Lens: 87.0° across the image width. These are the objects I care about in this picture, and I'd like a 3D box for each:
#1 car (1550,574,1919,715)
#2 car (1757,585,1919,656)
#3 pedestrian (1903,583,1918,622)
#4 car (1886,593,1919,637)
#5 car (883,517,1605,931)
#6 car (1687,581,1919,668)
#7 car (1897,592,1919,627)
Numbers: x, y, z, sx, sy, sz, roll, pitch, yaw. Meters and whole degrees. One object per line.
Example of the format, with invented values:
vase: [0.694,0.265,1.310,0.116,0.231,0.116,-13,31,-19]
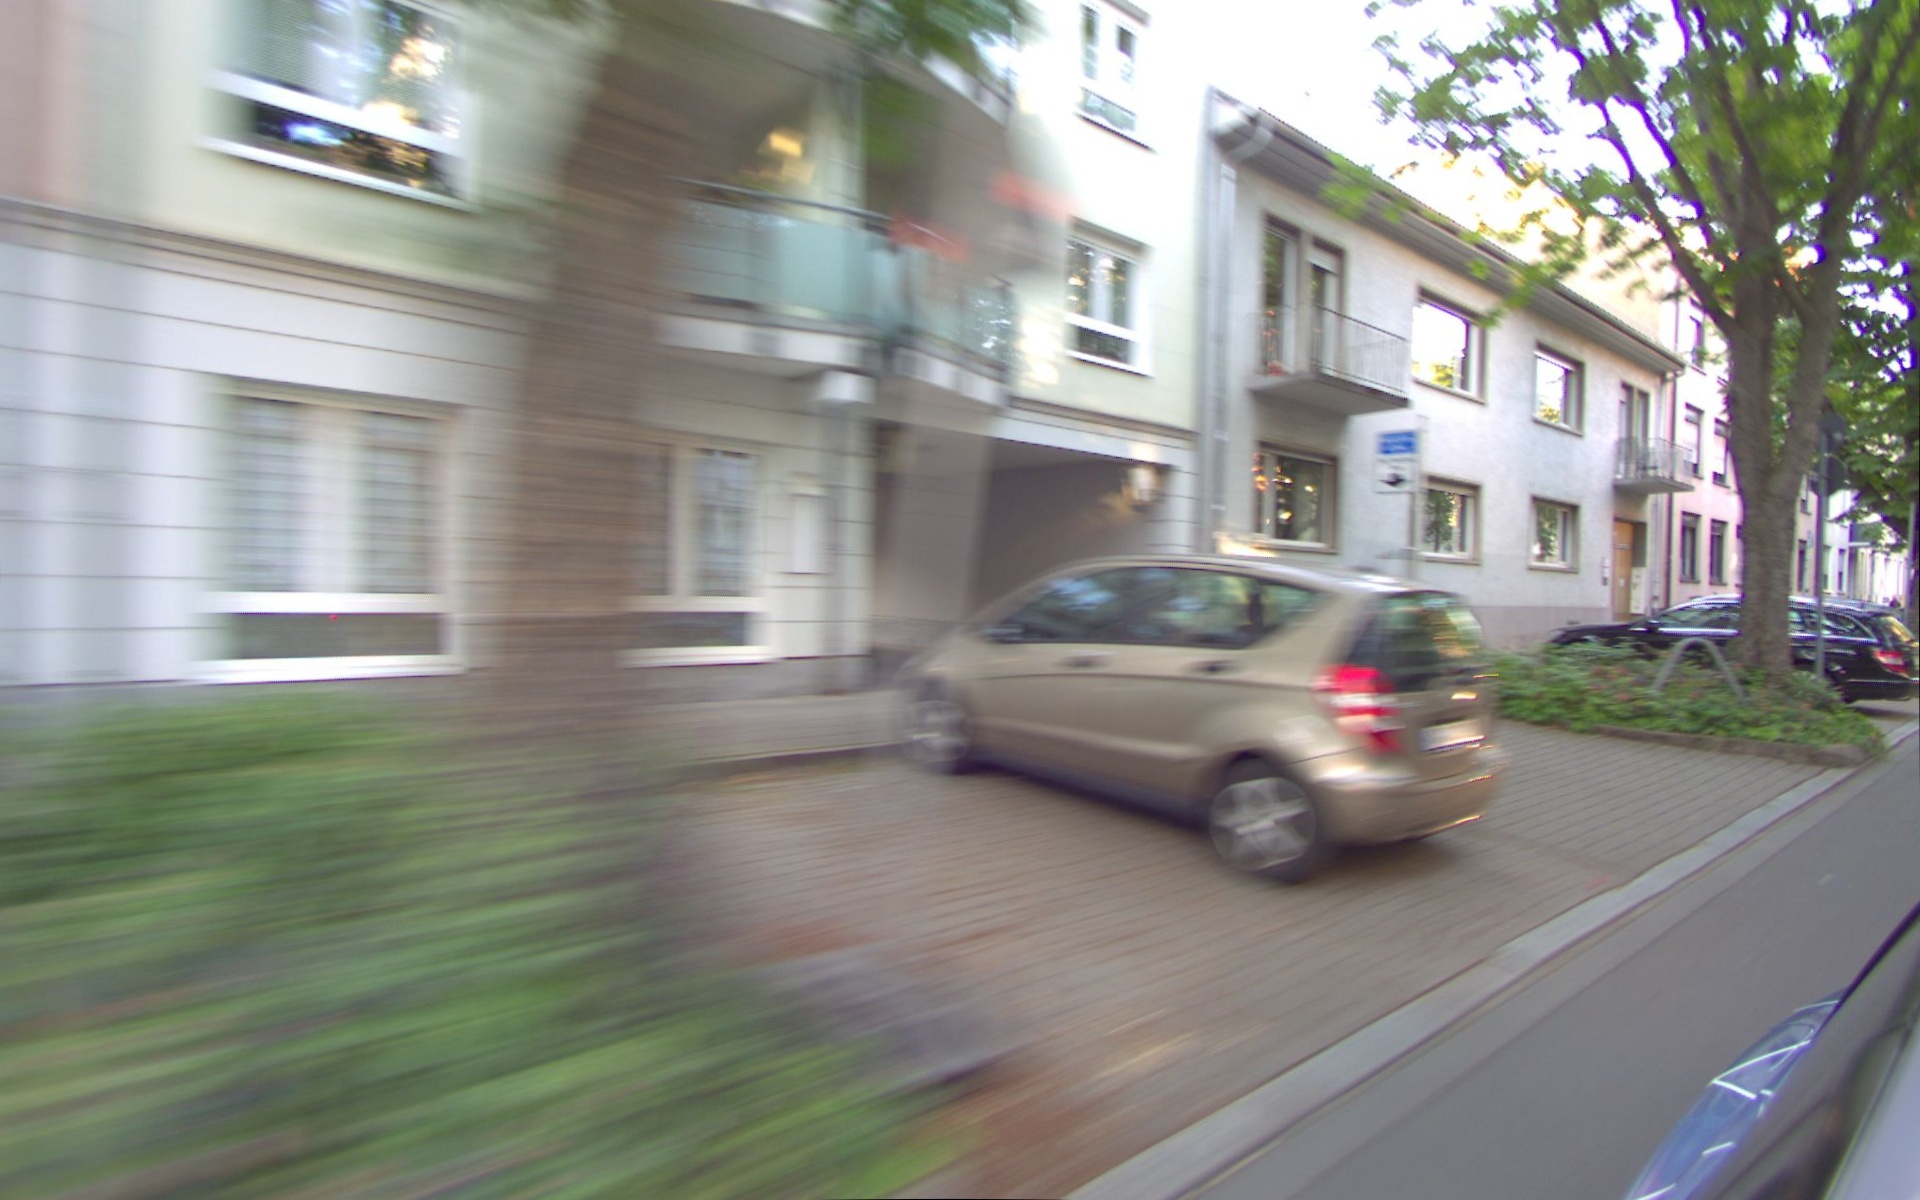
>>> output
car: [11.242,0.504,14.581,1.698,1.487,4.375,1,4,-35]
car: [22.493,0.500,24.614,1.665,1.488,4.597,0,3,-38]
pedestrian: [49.445,0.135,52.642,0.476,2.038,0.449,1,1,-40]
car: [33.096,0.582,33.215,1.647,1.415,3.854,0,3,-43]
car: [1.445,0.399,6.290,1.892,1.687,3.872,0,4,-40]
car: [17.804,0.440,20.638,1.916,1.542,4.457,0,2,-39]
car: [41.711,0.496,42.044,1.645,1.415,3.859,0,3,-39]
